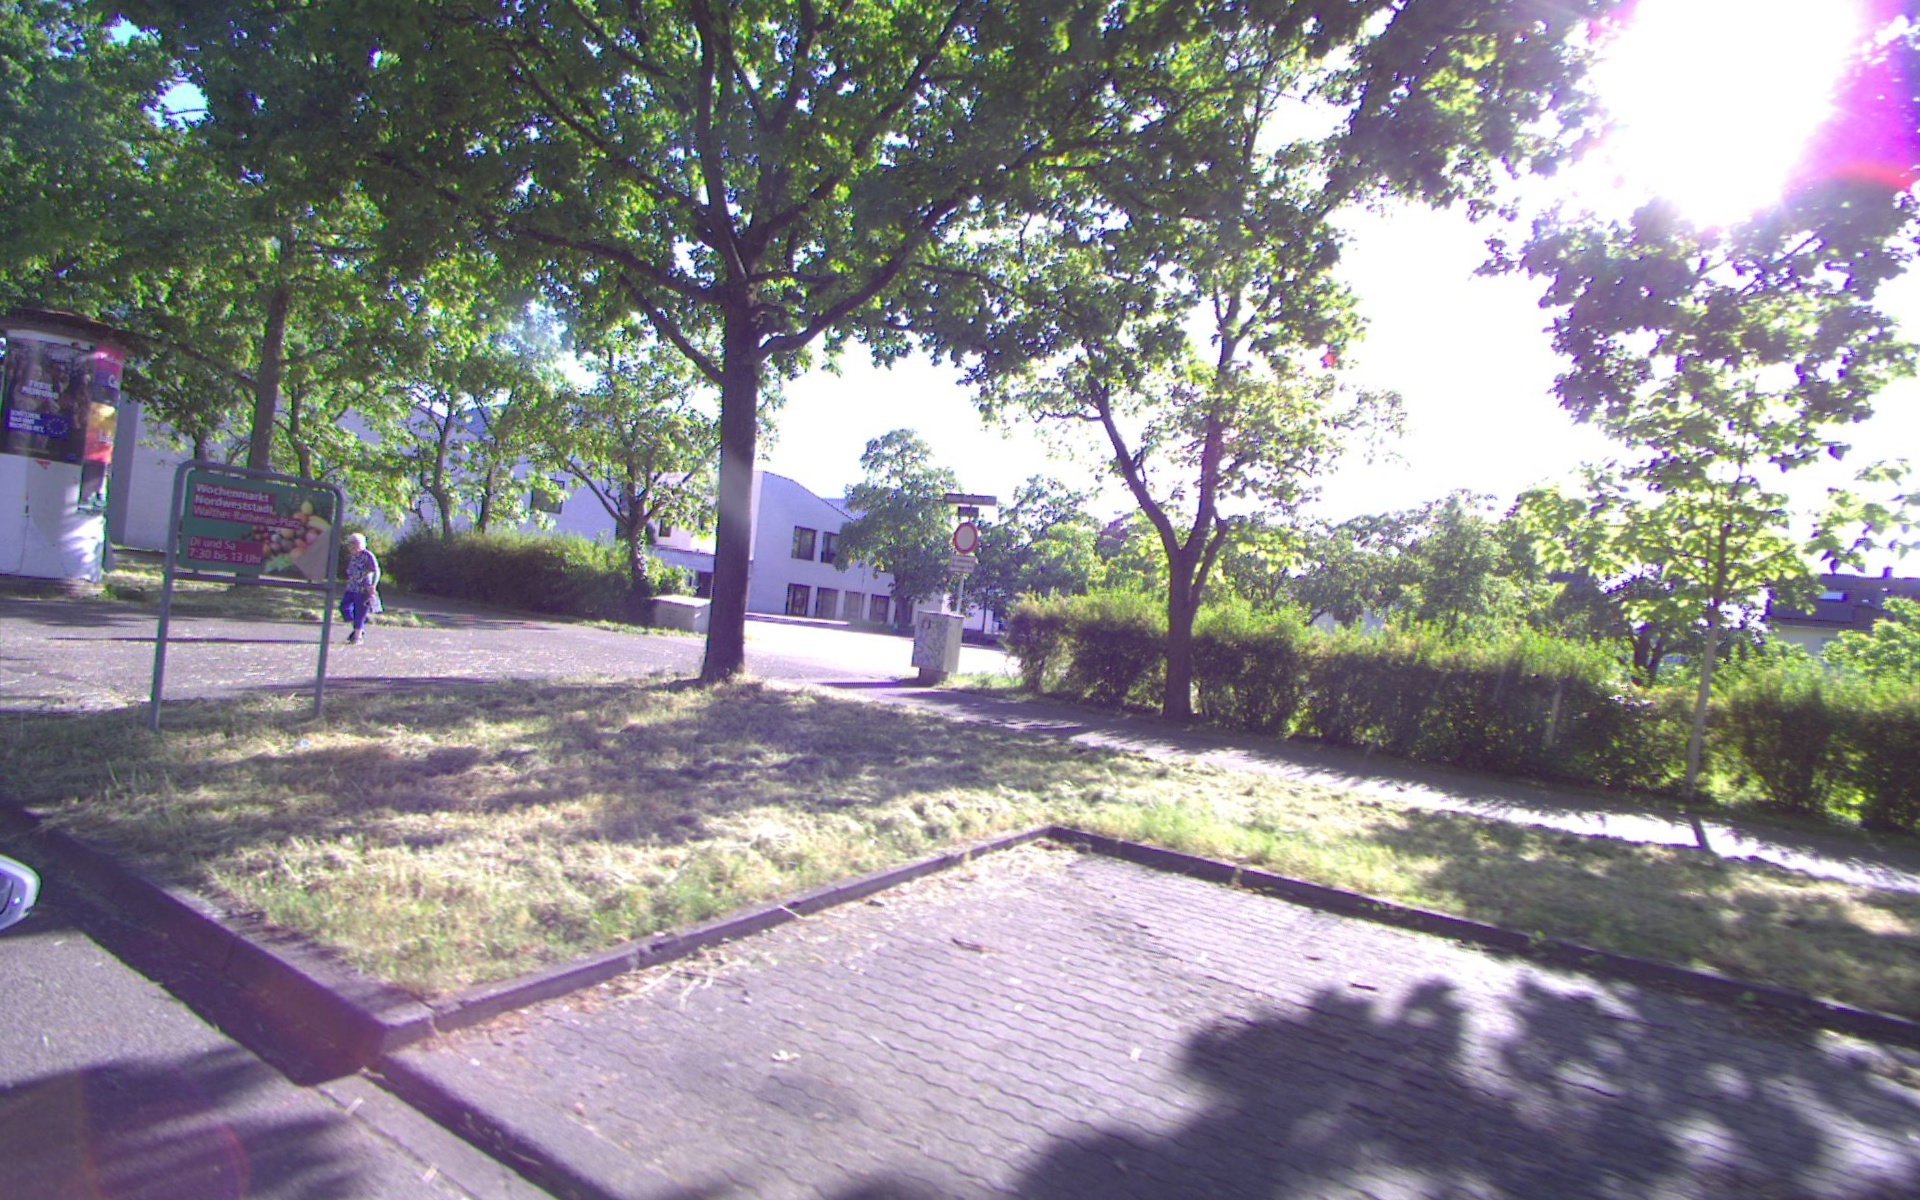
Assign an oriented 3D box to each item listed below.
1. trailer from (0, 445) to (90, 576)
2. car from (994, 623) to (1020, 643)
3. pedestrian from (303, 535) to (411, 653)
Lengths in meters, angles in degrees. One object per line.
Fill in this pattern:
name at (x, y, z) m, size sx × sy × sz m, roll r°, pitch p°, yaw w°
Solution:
trailer at (-19.434, -1.843, 17.822) m, size 1.658 × 2.347 × 5.776 m, roll 7°, pitch 1°, yaw 33°
car at (5.688, 4.008, 121.138) m, size 2.063 × 2.037 × 4.004 m, roll 6°, pitch -2°, yaw 18°
pedestrian at (-8.449, -0.089, 14.138) m, size 0.869 × 1.519 × 0.942 m, roll 6°, pitch 1°, yaw -5°
